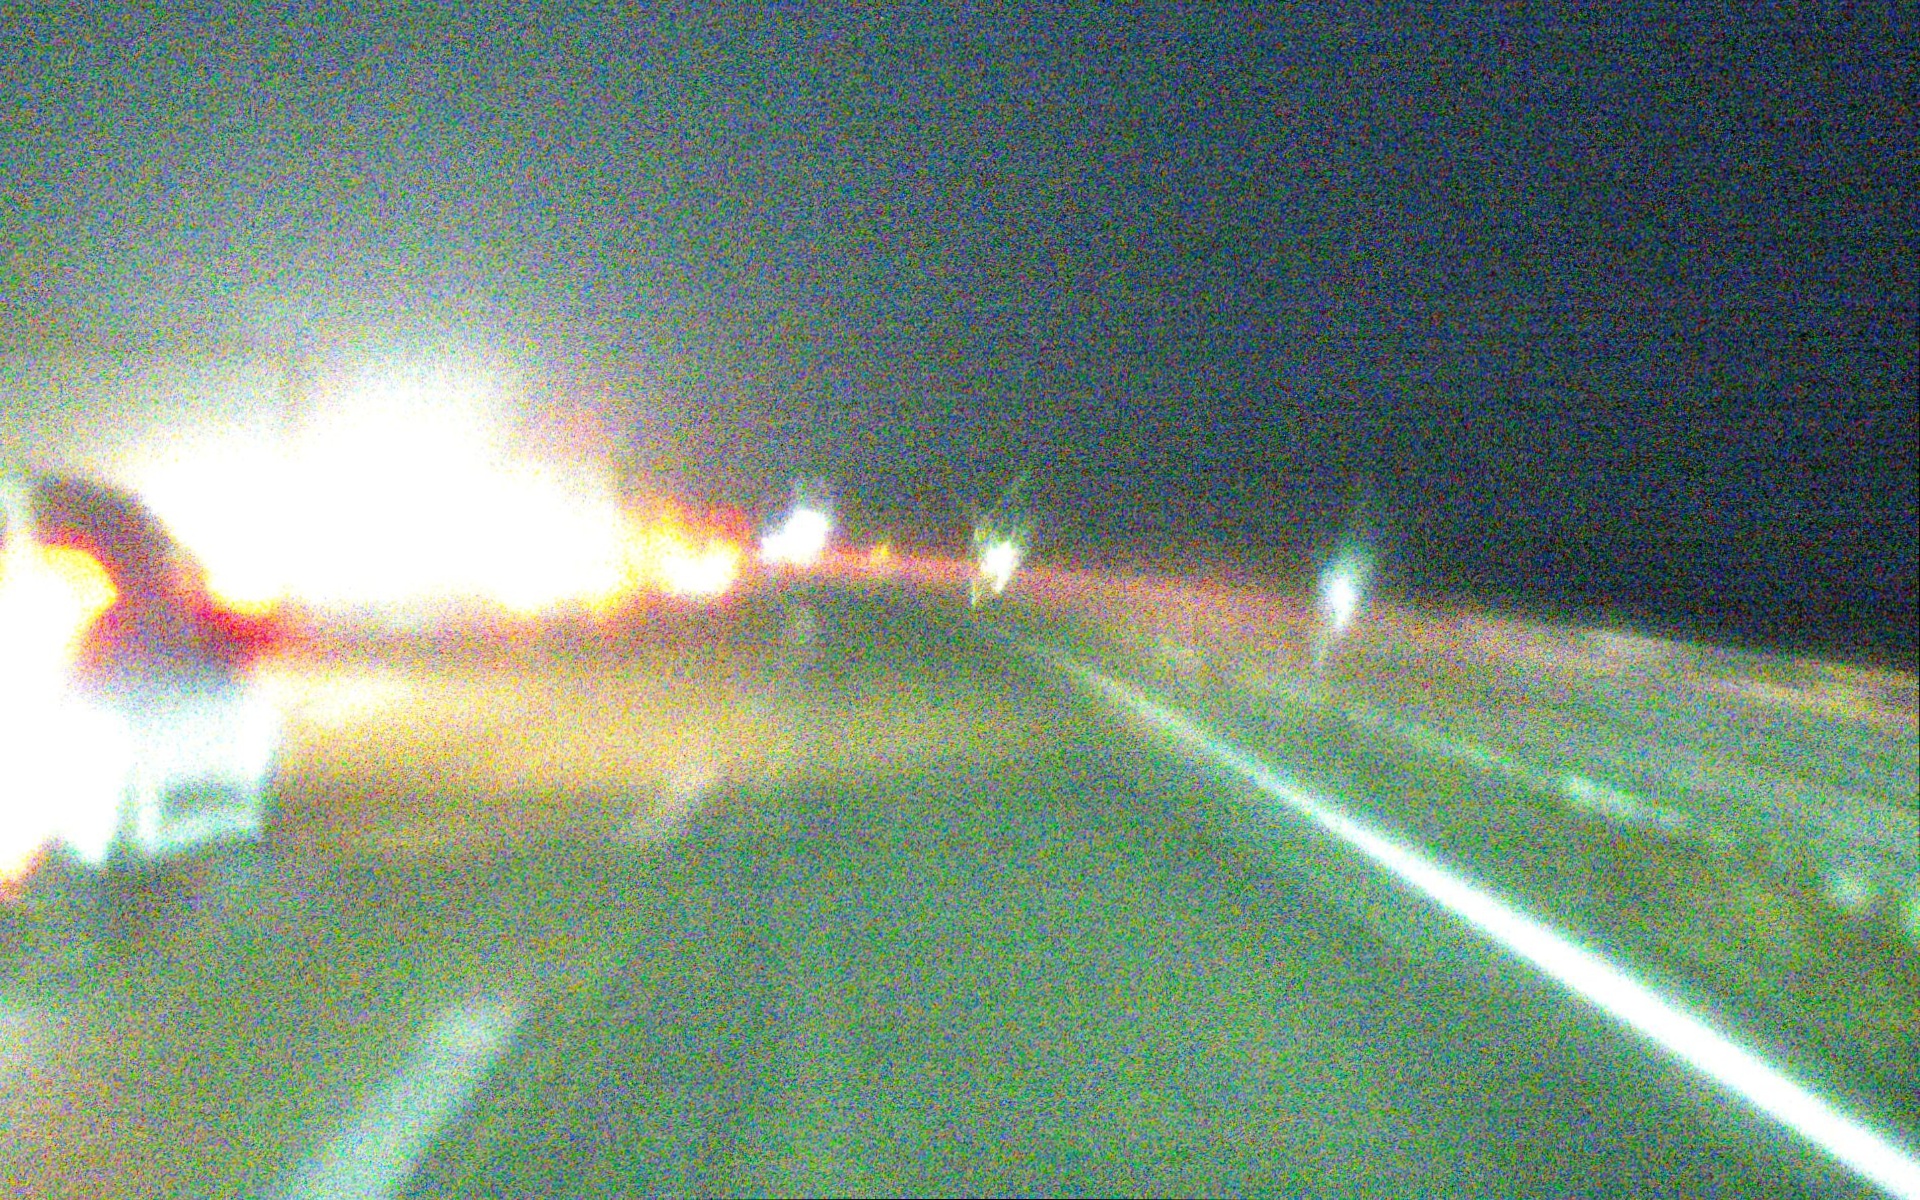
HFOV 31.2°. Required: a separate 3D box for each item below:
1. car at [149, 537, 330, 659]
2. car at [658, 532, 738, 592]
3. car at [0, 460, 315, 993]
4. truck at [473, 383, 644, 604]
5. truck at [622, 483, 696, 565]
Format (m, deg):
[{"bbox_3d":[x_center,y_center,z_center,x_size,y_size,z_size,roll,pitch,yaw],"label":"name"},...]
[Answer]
[{"bbox_3d":[-10.581,-0.045,50.773,1.993,1.701,4.196,1,1,-3],"label":"car"},{"bbox_3d":[-7.701,-1.122,100.717,1.993,1.701,4.196,1,1,-9],"label":"car"},{"bbox_3d":[-4.079,0.336,14.068,1.953,1.786,5.125,1,2,-1],"label":"car"},{"bbox_3d":[-11.071,-2.772,93.552,4.166,5.525,13.077,1,1,-8],"label":"truck"},{"bbox_3d":[-18.922,-4.697,215.328,3.823,4.898,11.609,1,1,-8],"label":"truck"}]
